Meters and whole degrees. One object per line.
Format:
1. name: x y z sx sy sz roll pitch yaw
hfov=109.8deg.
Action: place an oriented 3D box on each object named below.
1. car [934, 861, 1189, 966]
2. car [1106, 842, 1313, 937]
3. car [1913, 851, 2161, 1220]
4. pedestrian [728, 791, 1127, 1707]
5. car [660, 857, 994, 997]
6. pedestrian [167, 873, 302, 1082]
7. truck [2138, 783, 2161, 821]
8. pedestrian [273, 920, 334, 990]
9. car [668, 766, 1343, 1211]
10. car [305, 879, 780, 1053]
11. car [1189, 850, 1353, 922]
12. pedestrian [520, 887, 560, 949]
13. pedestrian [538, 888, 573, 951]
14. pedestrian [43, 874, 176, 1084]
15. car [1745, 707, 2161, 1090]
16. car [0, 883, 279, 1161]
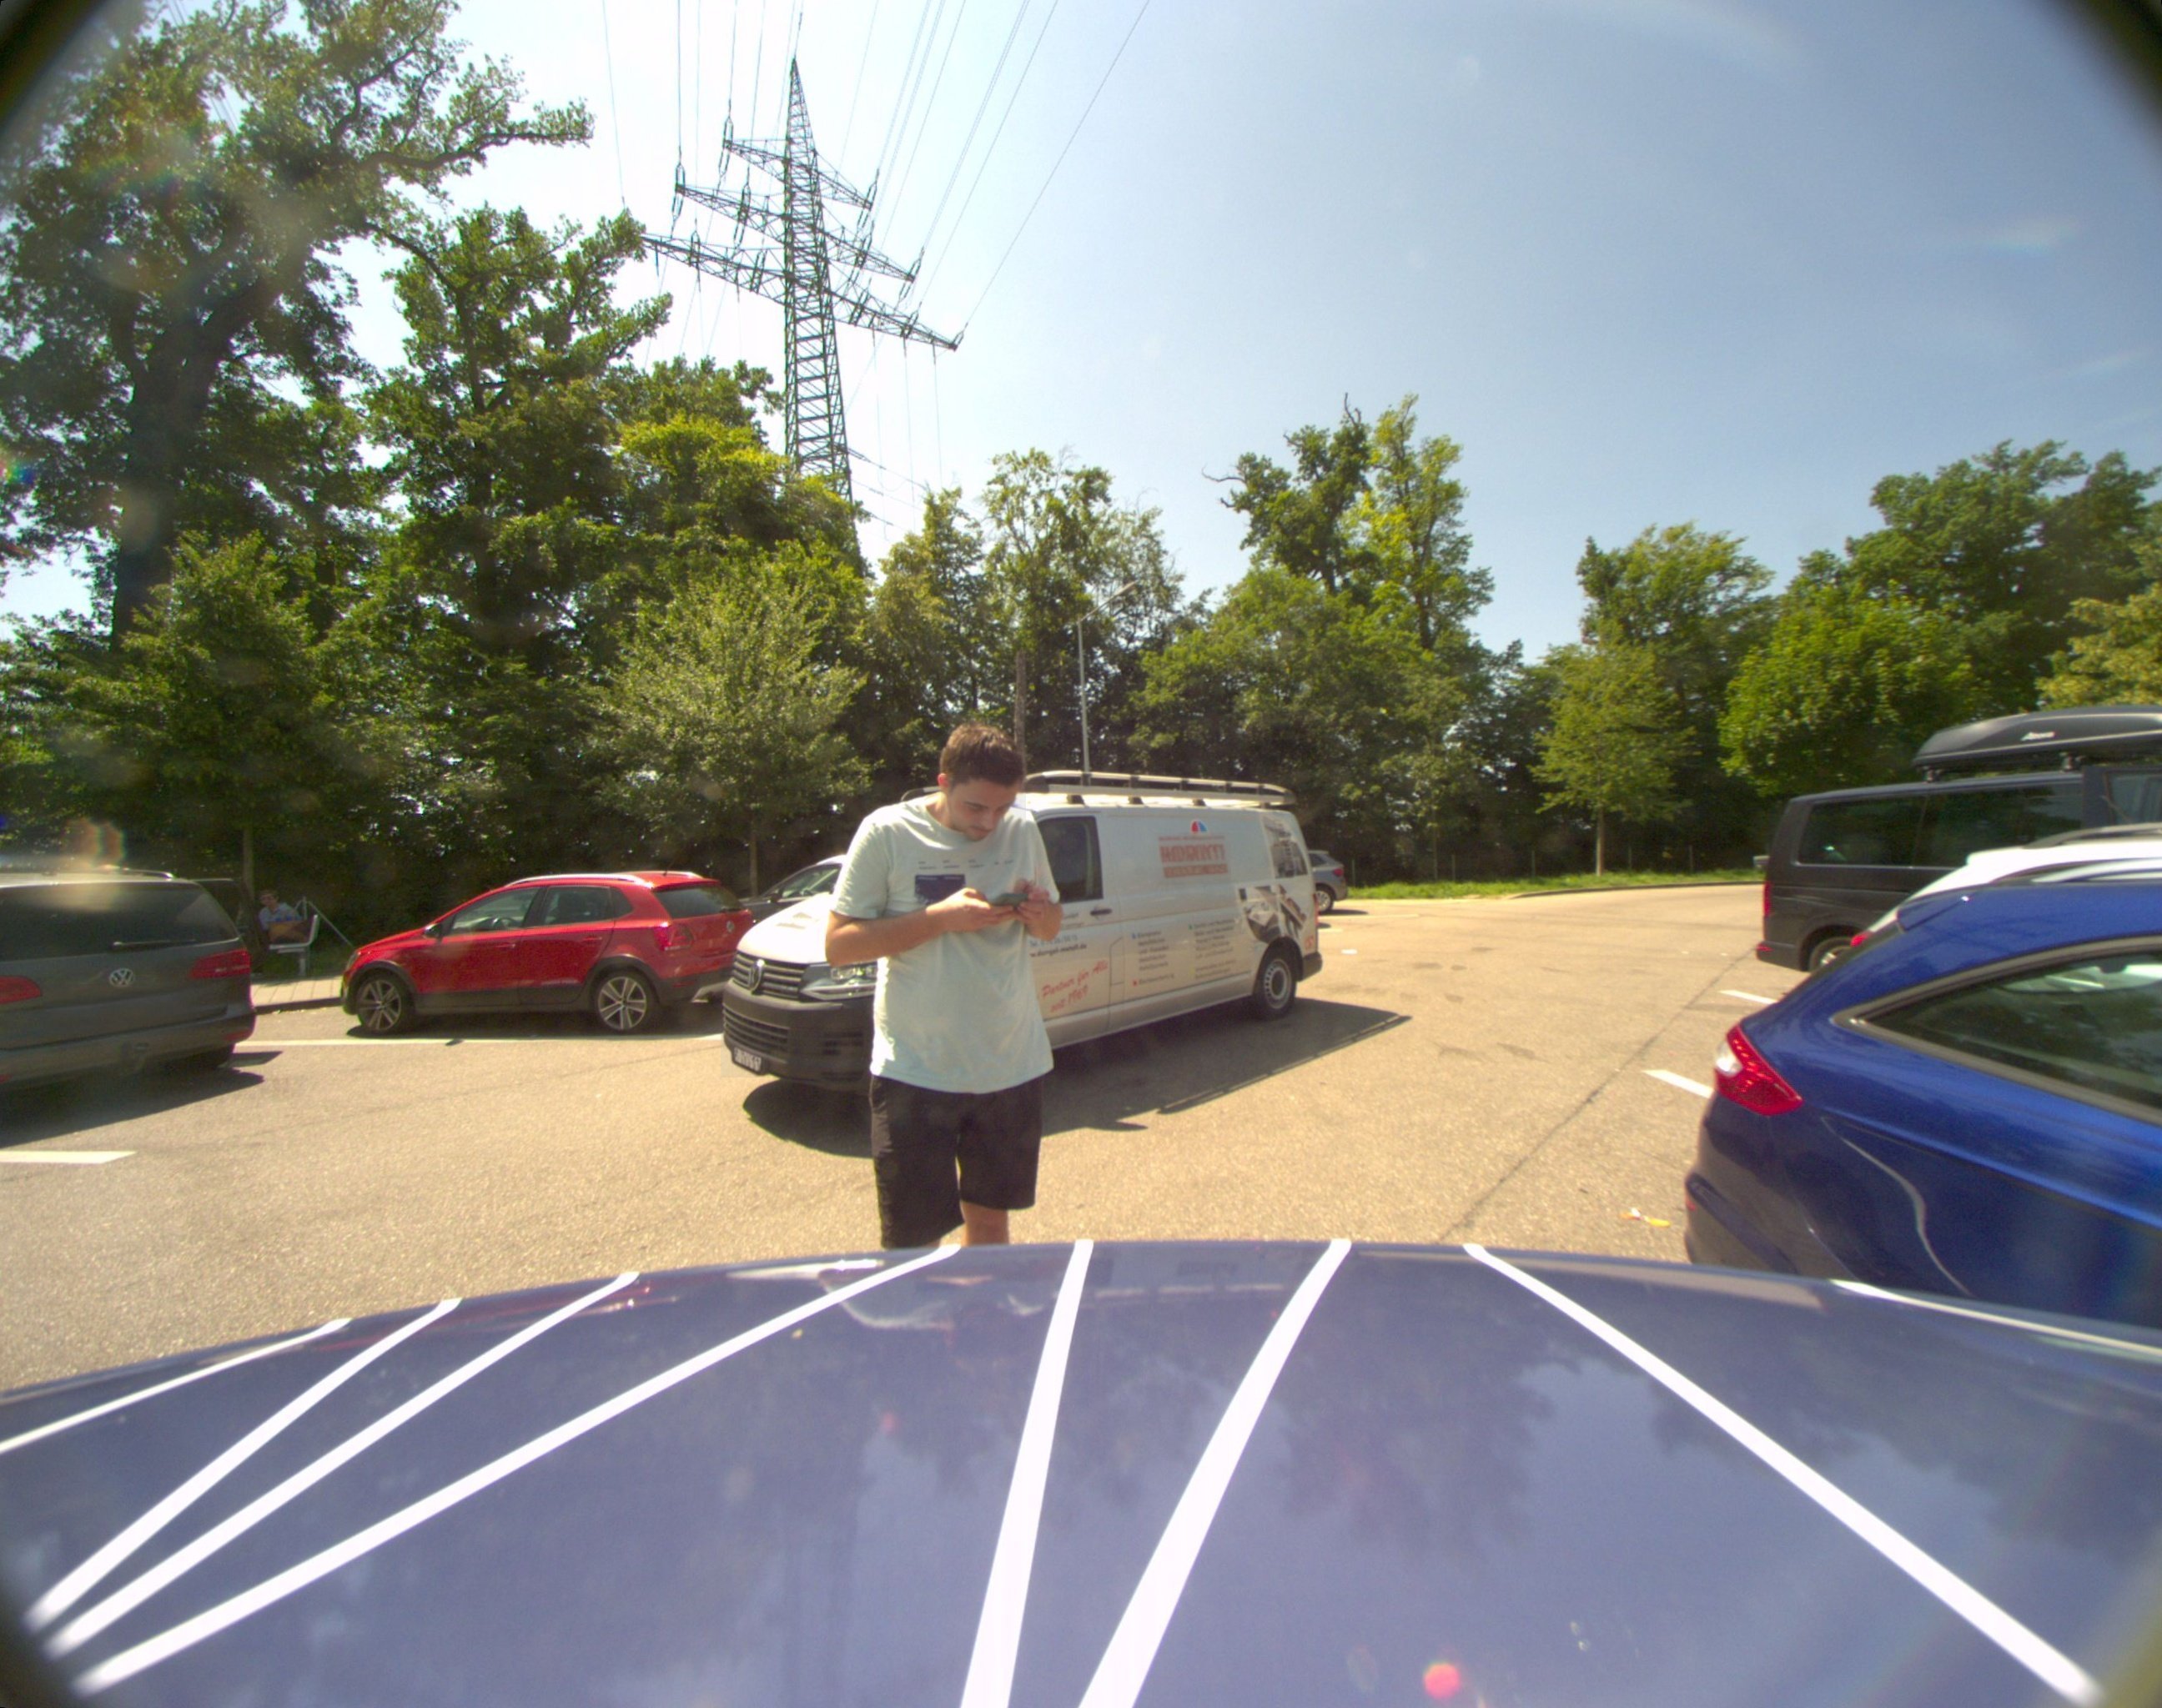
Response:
1. car: -0.239 0.903 12.216 3.773 1.445 1.848 -2 0 4
2. car: 2.492 0.682 15.333 3.850 1.678 1.755 -2 0 4
3. car: 4.691 0.669 2.107 1.344 1.352 3.114 -2 0 1
4. pedestrian: -0.395 0.789 1.898 0.741 1.818 0.613 -2 0 -34
5. car: -3.248 0.914 10.269 3.866 1.607 1.709 -2 0 0
6. pedestrian: -7.411 1.045 6.668 0.481 1.712 0.589 -2 1 22
7. truck: 40.298 -1.960 27.041 1.168 1.367 2.882 -2 -1 -19
8. pedestrian: -10.788 1.392 10.560 0.503 0.874 0.512 -3 1 -39
9. car: -0.042 0.600 6.139 5.445 2.092 1.839 -1 1 -45
10. car: -5.249 1.066 7.669 3.745 1.458 1.621 -2 0 7
11. car: 4.400 0.733 18.081 3.585 1.493 1.707 -2 1 8
12. pedestrian: -10.926 1.287 15.340 0.413 1.186 0.443 -2 1 12
13. pedestrian: -10.164 1.264 14.701 0.366 1.186 0.356 -2 1 21
14. pedestrian: -8.375 1.049 6.564 0.436 1.712 0.511 -2 1 17
15. car: 7.332 0.249 5.168 1.788 2.304 4.084 -2 0 -5
16. car: -8.347 1.107 5.424 3.903 1.607 1.705 -2 1 11
